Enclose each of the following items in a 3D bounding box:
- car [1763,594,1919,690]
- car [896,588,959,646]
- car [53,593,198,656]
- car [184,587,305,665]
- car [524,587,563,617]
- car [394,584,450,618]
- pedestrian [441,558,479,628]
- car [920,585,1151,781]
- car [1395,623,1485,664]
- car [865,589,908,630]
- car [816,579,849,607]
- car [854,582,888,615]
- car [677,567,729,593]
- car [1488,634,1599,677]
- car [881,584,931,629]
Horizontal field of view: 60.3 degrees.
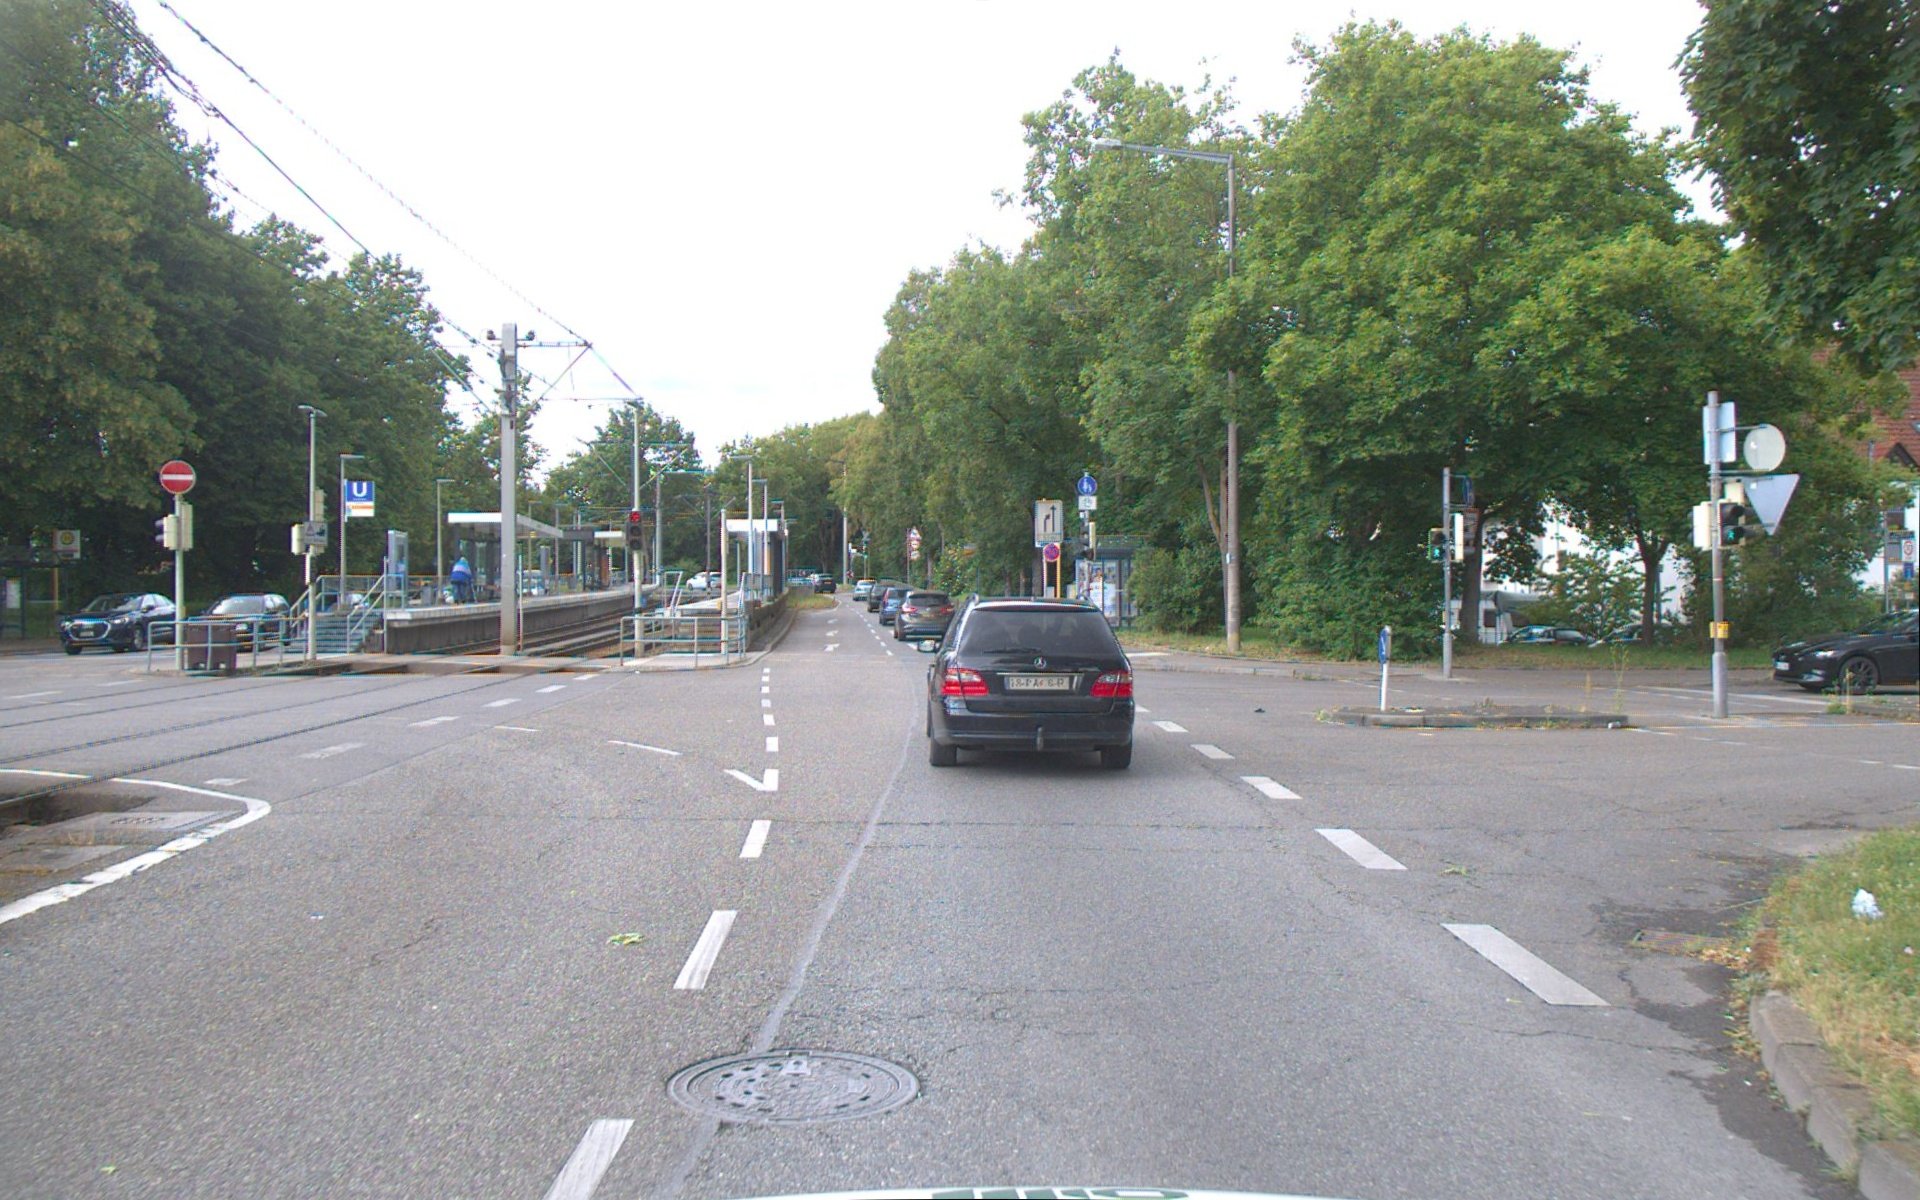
[{"bbox_3d":[16.014,0.693,27.906,4.065,1.553,1.705,-1,-1,3],"label":"car"},{"bbox_3d":[-0.966,0.527,50.965,1.745,1.677,4.000,2,-1,1],"label":"car"},{"bbox_3d":[-22.605,0.615,45.007,1.955,1.507,4.501,-3,1,-6],"label":"car"},{"bbox_3d":[-18.485,0.661,42.927,1.664,1.893,3.995,2,-1,-5],"label":"car"},{"bbox_3d":[-26.126,0.163,103.857,1.677,1.782,4.395,-1,-1,-5],"label":"car"},{"bbox_3d":[-25.632,0.056,78.964,1.653,1.471,3.995,-2,0,-6],"label":"car"},{"bbox_3d":[-16.064,-0.233,53.157,0.950,2.224,0.975,0,0,-4],"label":"pedestrian"},{"bbox_3d":[0.562,0.673,15.325,1.746,1.552,3.998,1,0,-3],"label":"car"},{"bbox_3d":[17.729,1.592,61.253,1.453,1.410,3.825,2,-1,-15],"label":"car"},{"bbox_3d":[-3.757,0.497,83.926,1.955,1.952,3.995,2,-1,-6],"label":"car"},{"bbox_3d":[-9.546,-0.528,123.398,1.958,2.001,3.988,2,-1,-12],"label":"car"},{"bbox_3d":[-5.641,-0.076,104.564,1.955,1.926,3.995,2,-1,-6],"label":"car"},{"bbox_3d":[-21.315,-1.684,137.401,3.917,2.049,1.994,1,-1,33],"label":"car"},{"bbox_3d":[19.482,1.843,55.346,1.595,1.268,3.842,2,-1,-15],"label":"car"},{"bbox_3d":[-2.096,0.277,65.537,1.745,1.677,4.000,2,-1,1],"label":"car"}]
